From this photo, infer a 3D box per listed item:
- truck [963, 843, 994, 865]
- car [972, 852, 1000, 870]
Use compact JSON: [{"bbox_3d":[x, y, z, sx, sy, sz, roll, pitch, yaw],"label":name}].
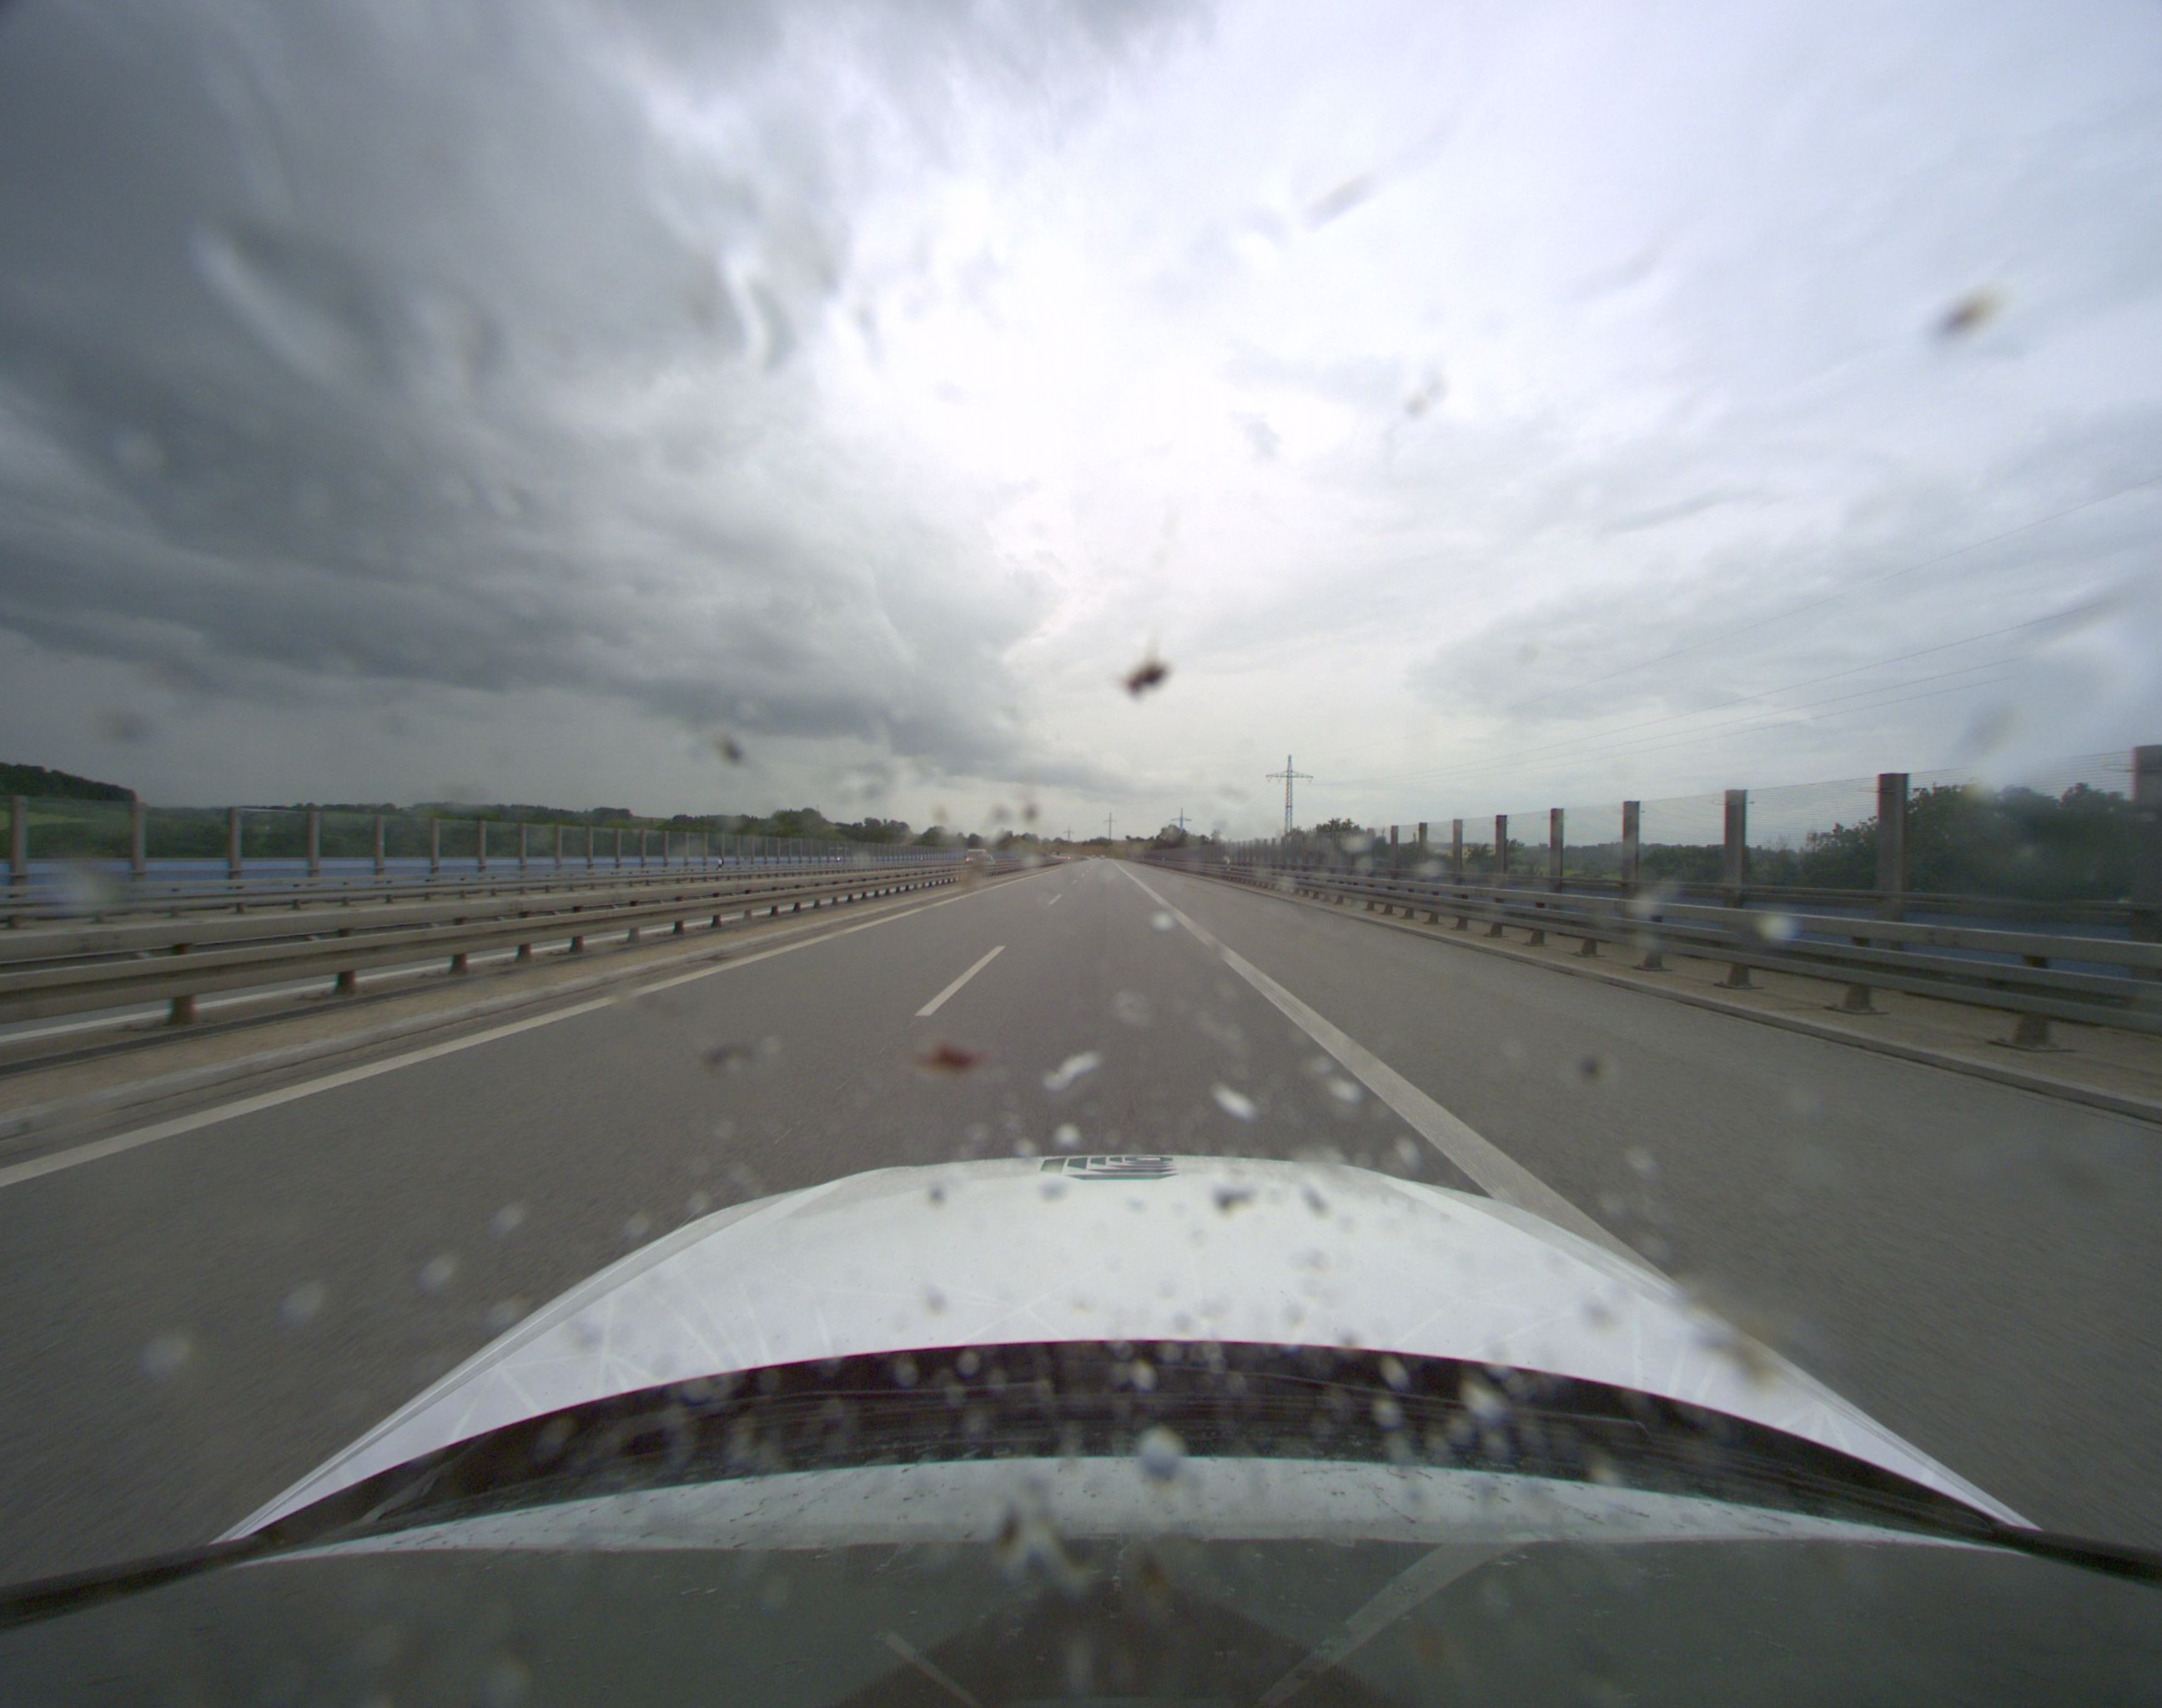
[{"bbox_3d":[-11.446,0.012,91.718,2.264,2.431,7.455,0,0,2],"label":"truck"},{"bbox_3d":[-8.101,0.594,69.528,1.747,1.491,4.002,0,0,2],"label":"car"}]
